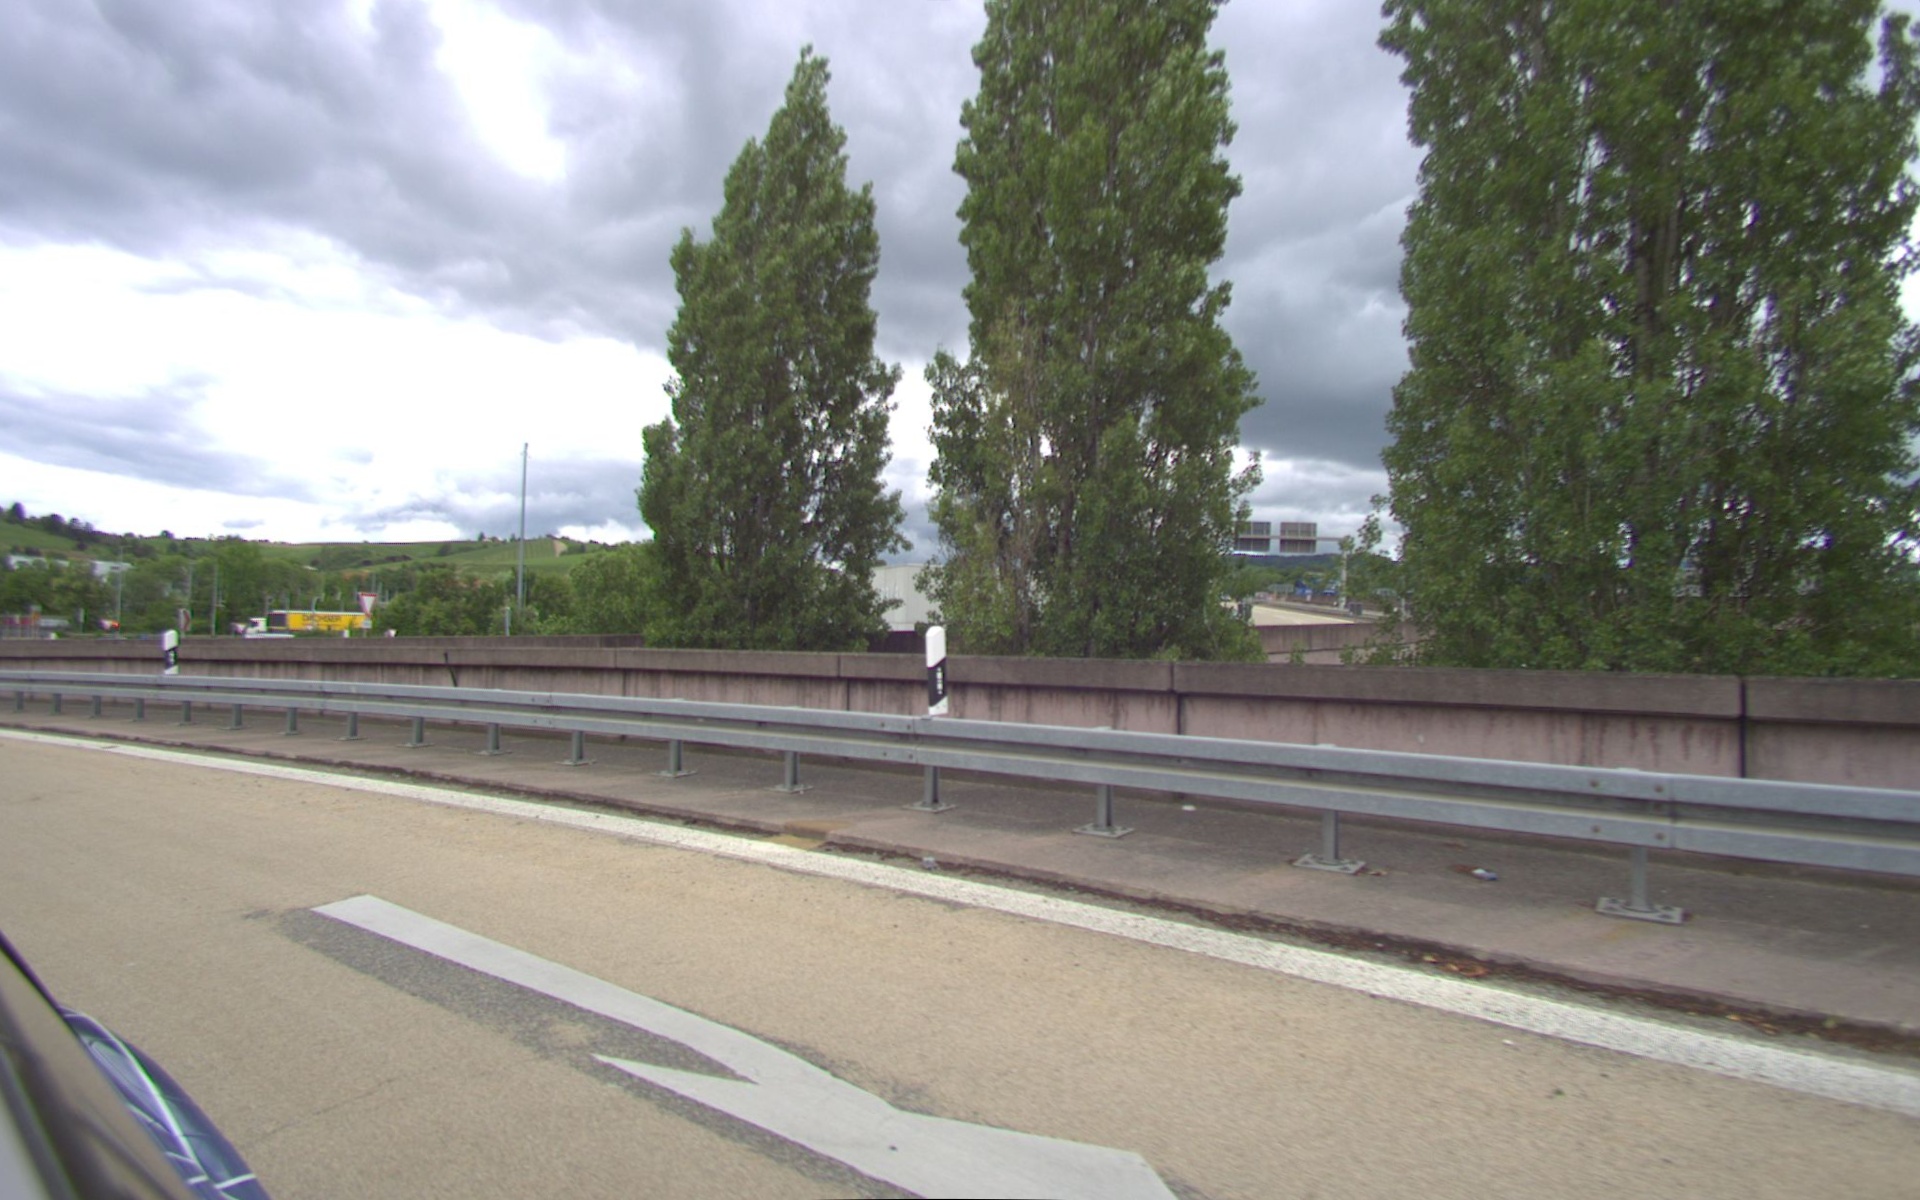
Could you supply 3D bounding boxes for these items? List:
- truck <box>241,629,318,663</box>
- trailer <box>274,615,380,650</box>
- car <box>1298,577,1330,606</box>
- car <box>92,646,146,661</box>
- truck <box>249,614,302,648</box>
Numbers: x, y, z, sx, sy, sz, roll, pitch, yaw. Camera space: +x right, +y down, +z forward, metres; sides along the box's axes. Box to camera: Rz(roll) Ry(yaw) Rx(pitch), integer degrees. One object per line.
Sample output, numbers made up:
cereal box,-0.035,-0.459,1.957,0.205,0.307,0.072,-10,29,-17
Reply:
truck,-68.999,4.662,102.809,2.326,3.288,6.975,0,-2,9
trailer,-83.844,4.292,134.315,11.458,4.236,2.643,2,-1,-16
car,47.069,-1.063,134.655,2.333,3.688,4.797,-3,-1,1
car,-94.047,5.950,113.204,4.221,1.568,1.954,1,0,-18
truck,-89.688,4.058,132.645,5.015,4.236,2.643,2,-1,-16
